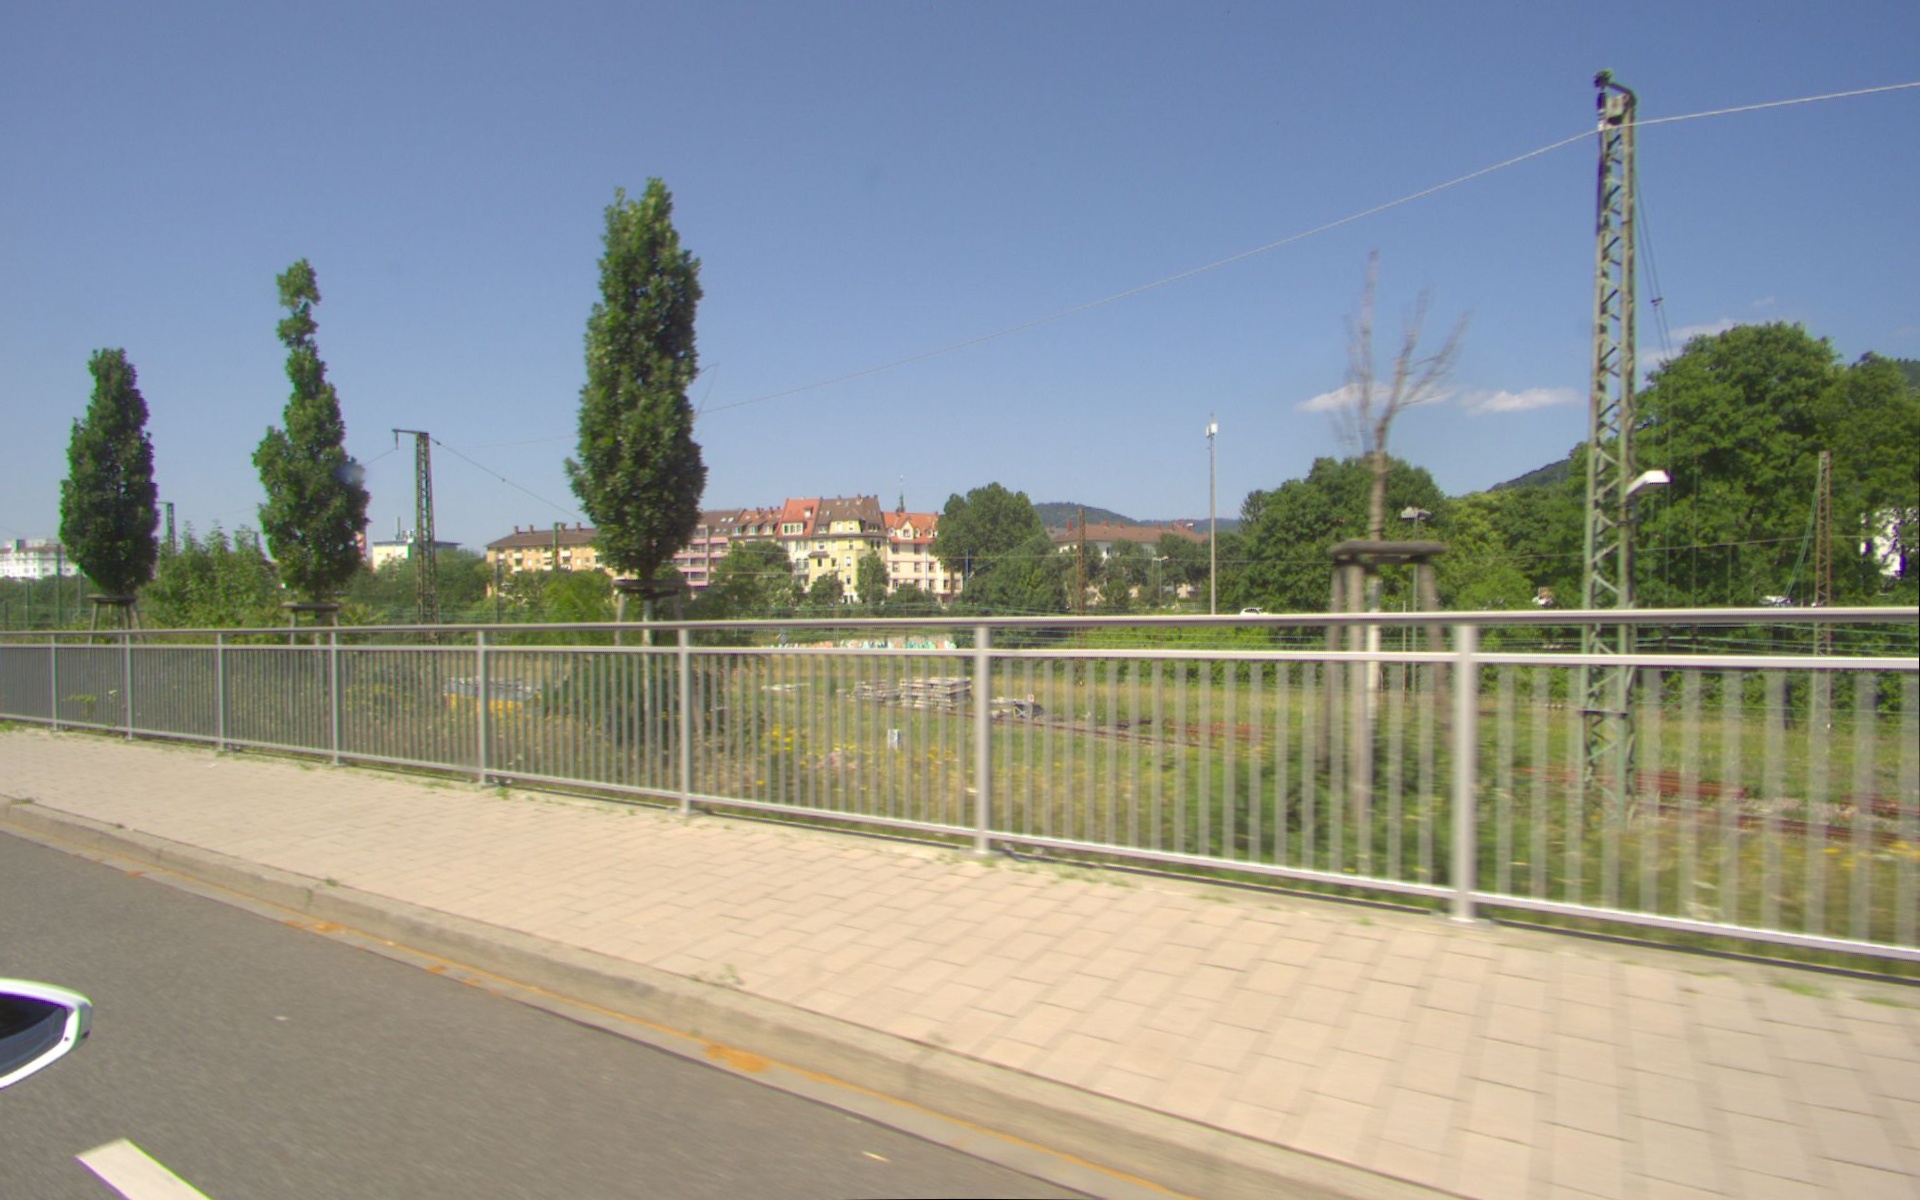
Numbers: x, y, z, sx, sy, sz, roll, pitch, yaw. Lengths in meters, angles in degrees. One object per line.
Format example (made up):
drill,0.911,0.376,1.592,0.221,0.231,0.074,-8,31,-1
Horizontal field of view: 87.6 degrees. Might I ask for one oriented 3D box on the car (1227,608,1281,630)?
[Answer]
car,29.855,1.948,101.666,4.930,2.140,1.985,-1,0,39
